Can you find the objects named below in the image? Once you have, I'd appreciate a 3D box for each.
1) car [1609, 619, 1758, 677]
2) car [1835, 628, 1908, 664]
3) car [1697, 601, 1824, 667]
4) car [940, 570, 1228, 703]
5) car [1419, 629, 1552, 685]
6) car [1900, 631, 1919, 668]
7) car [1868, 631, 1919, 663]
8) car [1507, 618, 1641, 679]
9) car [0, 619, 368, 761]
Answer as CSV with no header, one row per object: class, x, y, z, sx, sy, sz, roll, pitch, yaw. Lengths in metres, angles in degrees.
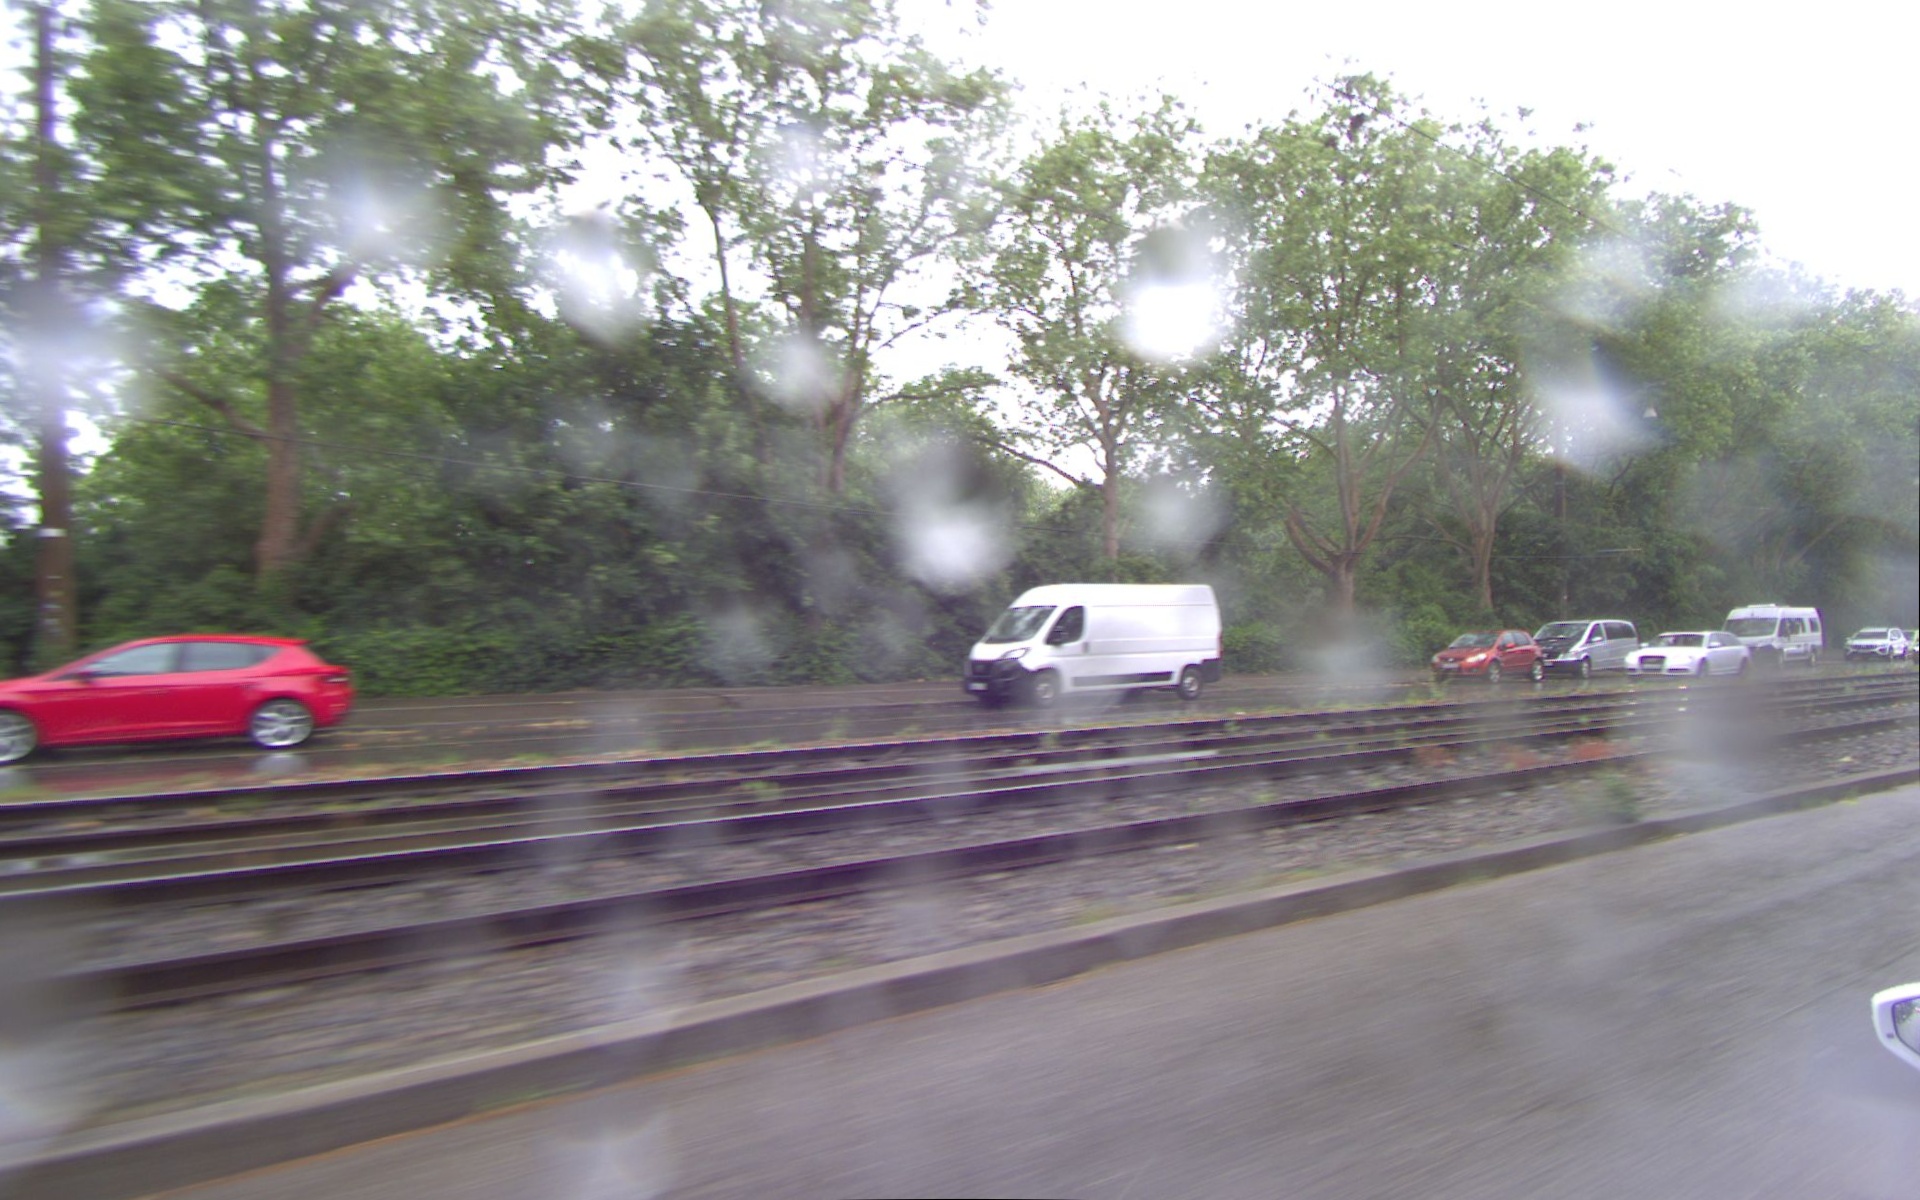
car,21.299,1.396,29.519,4.947,1.572,2.020,1,-3,-35
car,45.626,2.274,50.270,4.486,1.750,1.739,1,-2,-35
car,33.424,1.430,41.867,6.501,2.574,2.374,1,-2,-35
car,2.735,0.790,21.363,6.075,2.478,2.316,2,-2,-34
car,15.621,1.655,29.810,3.982,1.572,1.807,1,-2,-33
car,42.770,2.138,43.489,4.518,1.572,2.022,1,-2,-33
car,50.771,2.544,54.250,3.775,1.670,1.750,1,-2,-35
car,20.123,1.556,32.872,4.591,1.886,1.946,1,-2,-33
car,-10.065,1.055,12.735,4.338,1.572,2.022,1,-2,-33
